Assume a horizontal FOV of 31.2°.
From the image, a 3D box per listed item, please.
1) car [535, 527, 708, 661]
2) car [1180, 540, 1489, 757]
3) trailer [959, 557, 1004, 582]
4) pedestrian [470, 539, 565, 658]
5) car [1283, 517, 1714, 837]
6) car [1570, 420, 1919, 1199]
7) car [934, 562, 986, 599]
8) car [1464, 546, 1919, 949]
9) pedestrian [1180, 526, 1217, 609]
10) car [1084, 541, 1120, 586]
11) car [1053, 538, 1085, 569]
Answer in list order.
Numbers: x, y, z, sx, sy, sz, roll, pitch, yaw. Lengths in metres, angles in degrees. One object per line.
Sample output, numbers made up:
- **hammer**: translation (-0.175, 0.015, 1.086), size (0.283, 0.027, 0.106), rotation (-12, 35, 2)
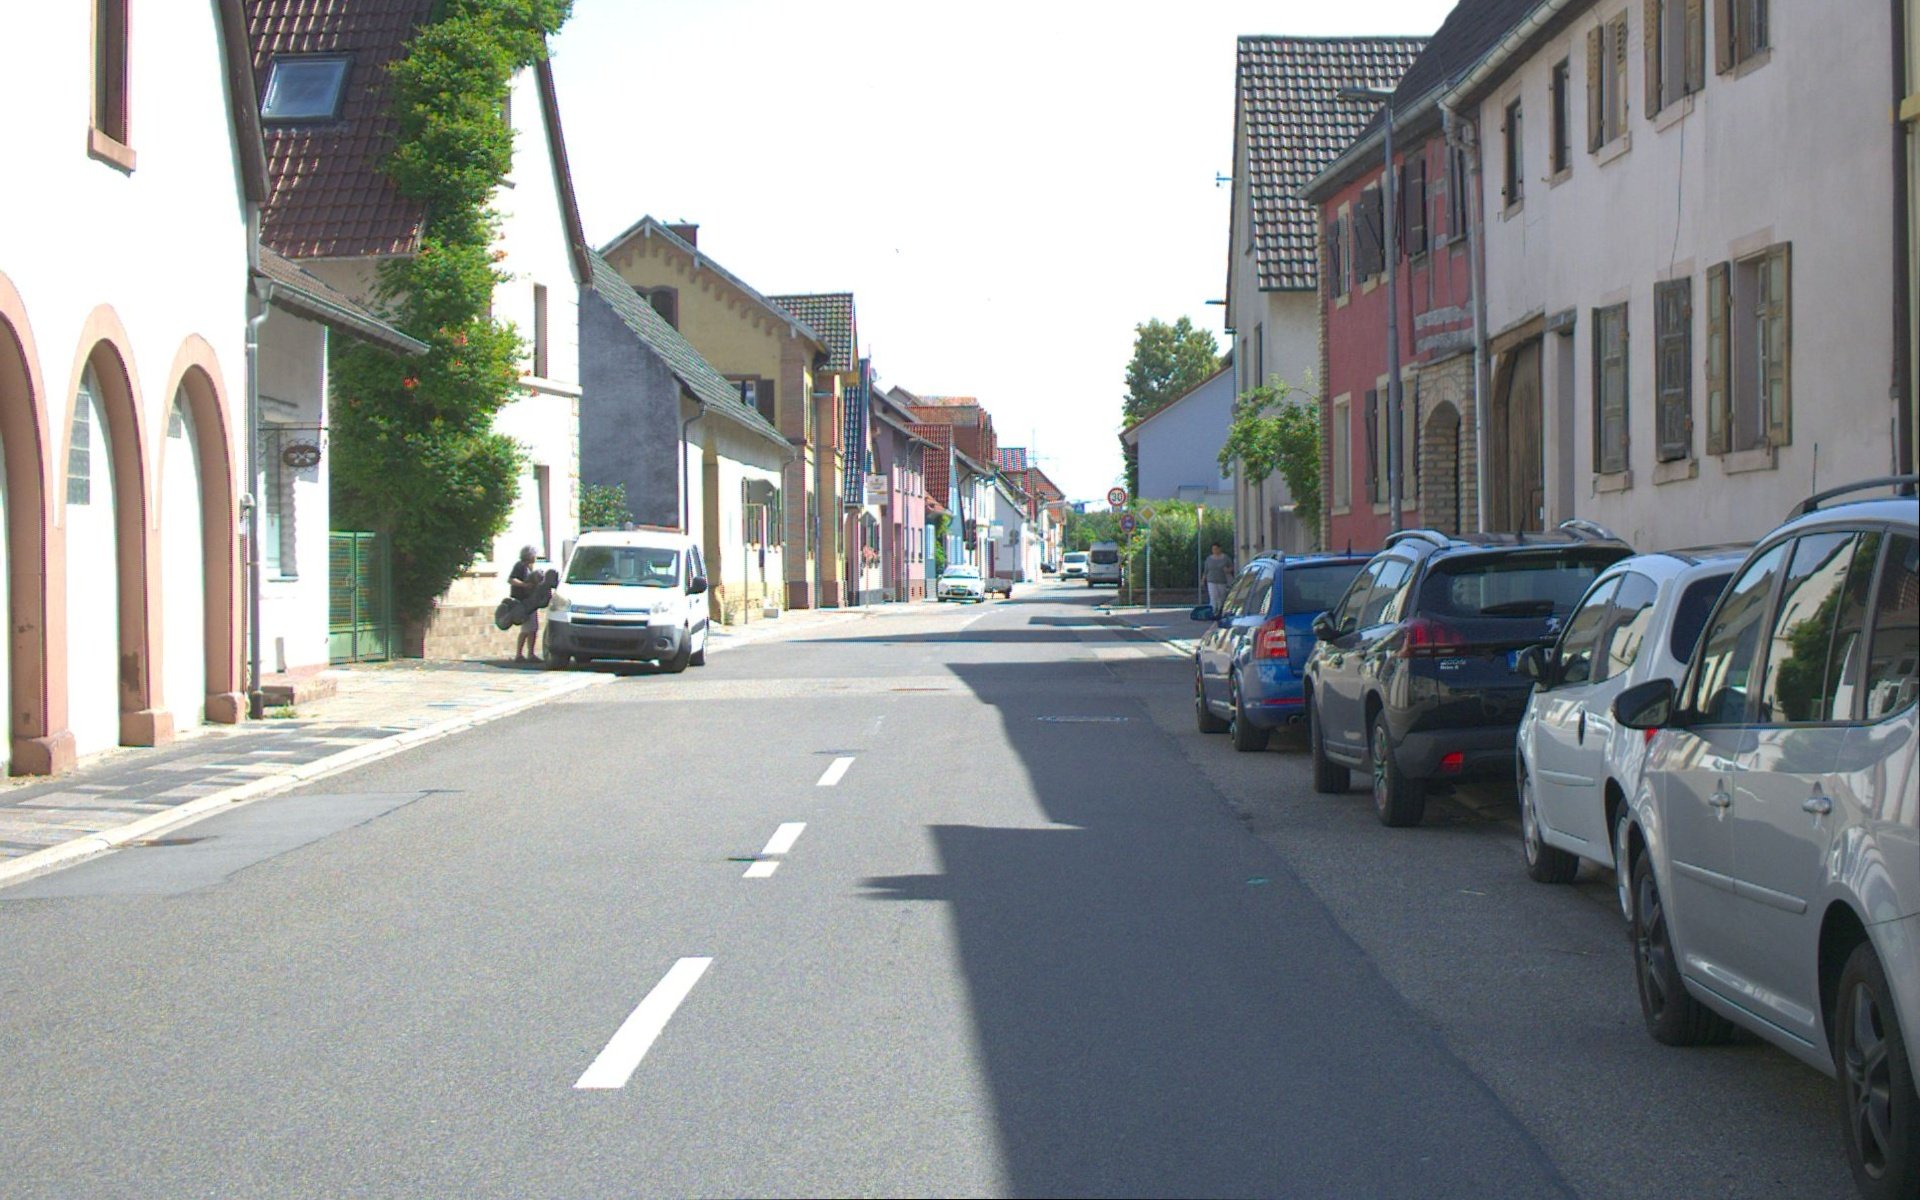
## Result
- **car**: translation (-4.352, -0.108, 44.756), size (1.855, 1.641, 4.430), rotation (0, 1, -1)
- **car**: translation (2.742, 0.308, 26.043), size (1.698, 1.464, 4.410), rotation (-2, 1, -2)
- **trailer**: translation (0.974, -1.388, 156.046), size (1.993, 1.086, 4.000), rotation (0, 1, 1)
- **pedestrian**: translation (-5.802, -0.023, 45.145), size (1.136, 1.546, 1.017), rotation (0, 1, -1)
- **car**: translation (2.918, 0.366, 19.422), size (1.699, 1.578, 4.028), rotation (-2, 1, -1)
- **car**: translation (2.896, 0.476, 8.902), size (1.898, 1.722, 4.249), rotation (0, 1, 0)
- **car**: translation (0.012, -0.796, 139.286), size (1.993, 1.437, 4.000), rotation (-1, 1, 2)
- **car**: translation (3.163, 0.513, 14.388), size (1.551, 1.433, 3.721), rotation (-1, 1, 0)
- **pedestrian**: translation (4.841, -0.661, 69.686), size (0.719, 1.658, 0.892), rotation (0, 1, 5)
- **car**: translation (8.345, -2.152, 201.978), size (2.017, 2.559, 4.000), rotation (-1, 1, 1)
- **car**: translation (7.682, -3.272, 243.212), size (2.158, 2.073, 4.000), rotation (-1, -1, 1)
